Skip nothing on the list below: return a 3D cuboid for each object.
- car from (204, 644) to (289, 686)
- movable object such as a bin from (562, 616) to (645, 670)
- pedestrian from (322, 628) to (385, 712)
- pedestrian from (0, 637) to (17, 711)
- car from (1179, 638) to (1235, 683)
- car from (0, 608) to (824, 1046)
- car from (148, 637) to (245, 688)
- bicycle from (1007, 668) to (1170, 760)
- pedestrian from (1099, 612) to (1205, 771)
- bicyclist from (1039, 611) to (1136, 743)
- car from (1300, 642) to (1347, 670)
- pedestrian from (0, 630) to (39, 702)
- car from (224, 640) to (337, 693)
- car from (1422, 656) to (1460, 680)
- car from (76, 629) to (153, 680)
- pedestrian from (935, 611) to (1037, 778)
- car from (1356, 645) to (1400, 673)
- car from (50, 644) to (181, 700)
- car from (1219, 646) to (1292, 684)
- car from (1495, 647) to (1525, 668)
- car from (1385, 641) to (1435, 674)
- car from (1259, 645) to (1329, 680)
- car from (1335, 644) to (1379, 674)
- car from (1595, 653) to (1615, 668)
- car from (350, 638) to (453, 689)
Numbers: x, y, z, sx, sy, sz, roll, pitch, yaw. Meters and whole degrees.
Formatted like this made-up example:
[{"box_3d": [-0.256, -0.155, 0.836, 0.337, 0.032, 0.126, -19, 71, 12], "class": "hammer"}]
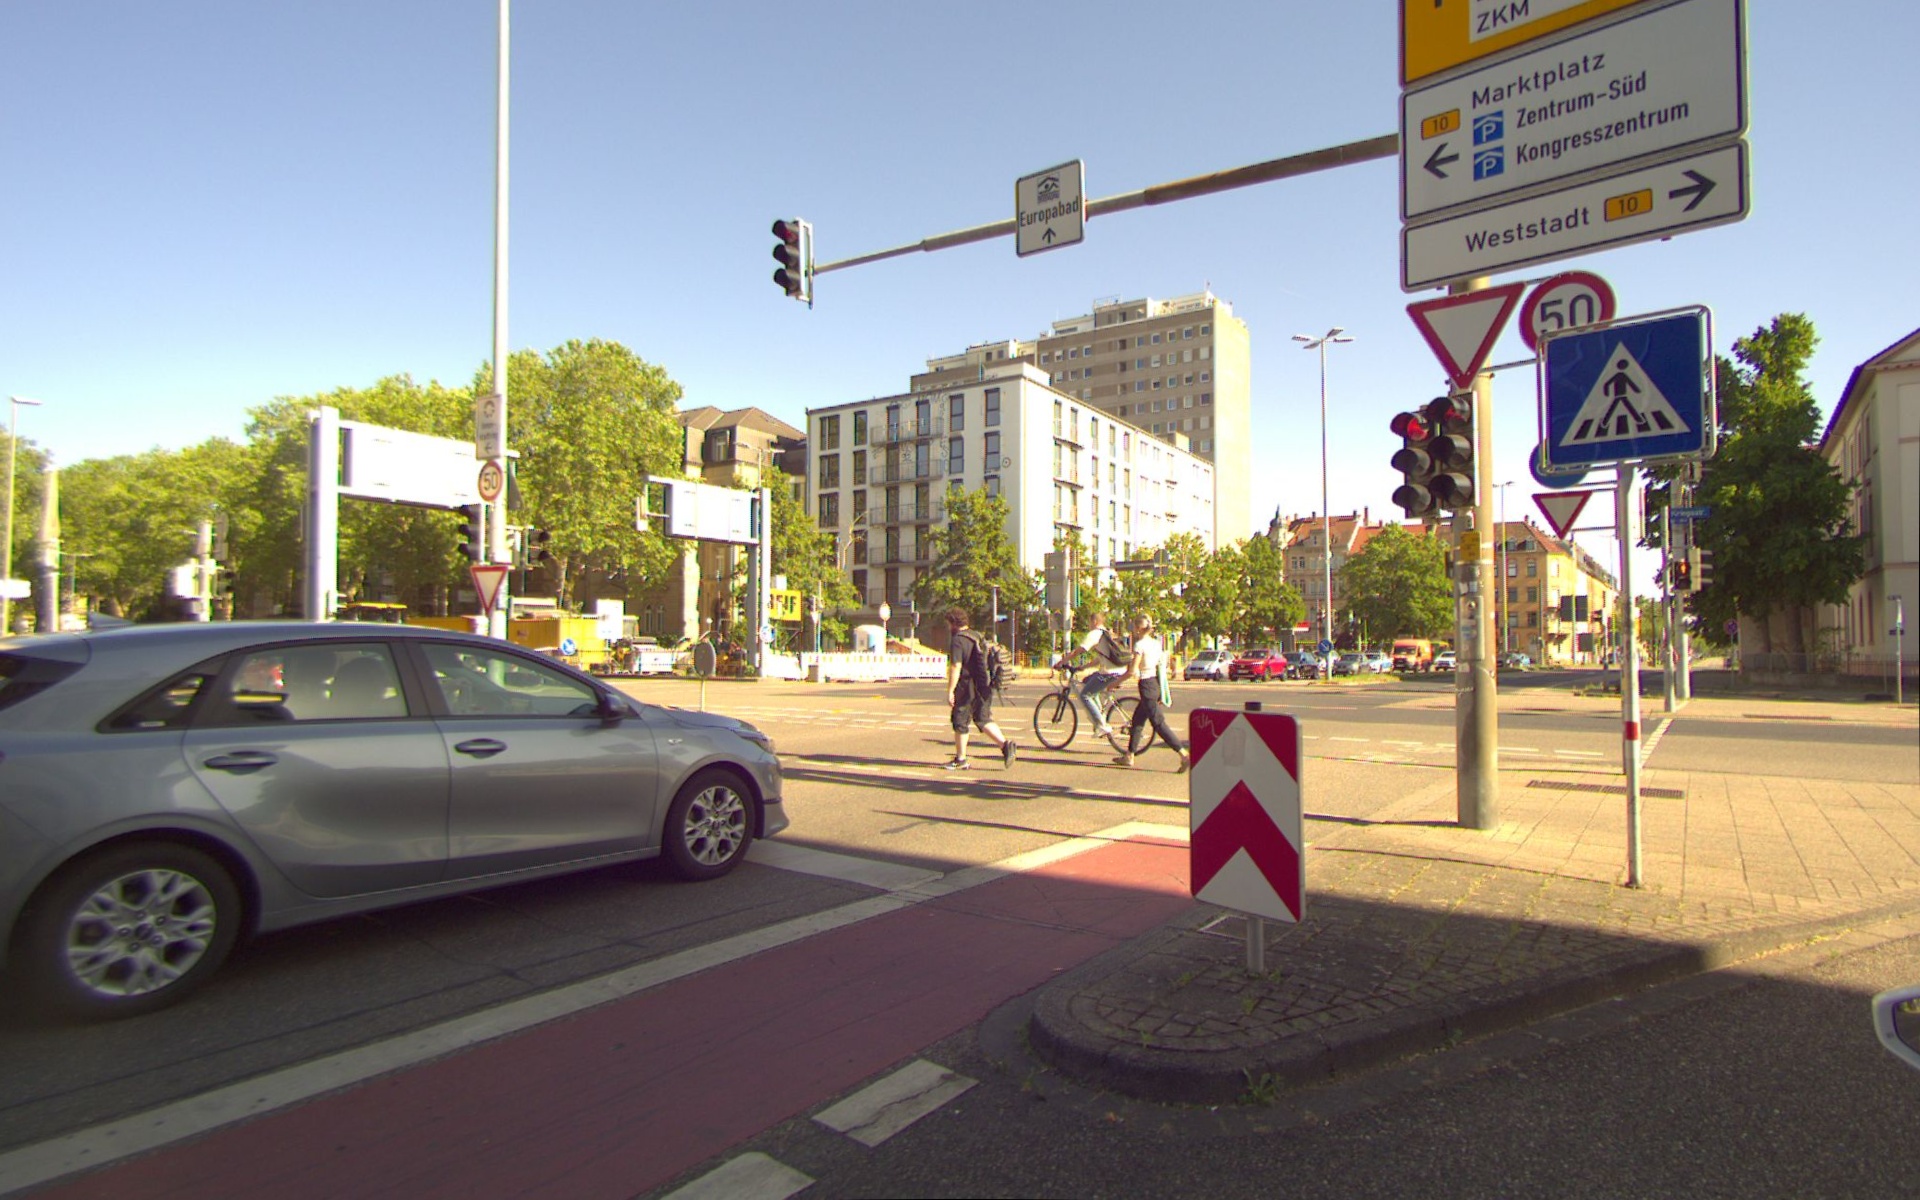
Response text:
[{"box_3d": [-32.035, 2.874, 45.074, 3.933, 1.539, 1.879, 2, 0, 34], "class": "car"}, {"box_3d": [-18.162, 2.141, 51.113, 3.933, 2.508, 1.994, 2, 0, 35], "class": "movable object such as a bin"}, {"box_3d": [-12.400, 1.412, 20.544, 0.710, 1.644, 0.893, 2, 0, 42], "class": "pedestrian"}, {"box_3d": [-22.439, 1.705, 23.137, 0.683, 1.701, 0.720, 2, 0, 5], "class": "pedestrian"}, {"box_3d": [12.685, 3.044, 51.403, 1.962, 2.040, 3.996, 2, 0, 26], "class": "car"}, {"box_3d": [-2.806, 0.793, 5.236, 1.855, 1.426, 4.041, -1, -2, 37], "class": "car"}, {"box_3d": [-27.853, 2.229, 36.607, 3.938, 1.539, 1.877, 2, 0, 39], "class": "car"}, {"box_3d": [1.567, 1.375, 12.462, 1.877, 1.003, 0.862, -3, -3, 45], "class": "bicycle"}, {"box_3d": [2.057, 0.963, 10.874, 0.912, 1.629, 0.786, 2, 0, -3], "class": "pedestrian"}, {"box_3d": [1.581, 0.928, 12.448, 0.865, 1.554, 0.842, 2, -2, -45], "class": "bicyclist"}, {"box_3d": [24.550, 3.749, 67.760, 1.888, 1.639, 3.986, 2, 0, 36], "class": "car"}, {"box_3d": [-23.220, 1.614, 24.655, 0.685, 1.701, 0.718, 2, 0, 33], "class": "pedestrian"}, {"box_3d": [-21.677, 2.069, 32.016, 3.938, 1.539, 1.877, -1, -2, 38], "class": "car"}, {"box_3d": [41.769, 5.857, 87.131, 1.889, 1.838, 4.691, 2, 0, 39], "class": "car"}, {"box_3d": [-43.987, 2.818, 52.232, 4.376, 2.545, 1.880, -1, -2, 33], "class": "car"}, {"box_3d": [0.255, 0.971, 10.651, 0.966, 1.665, 0.797, 2, 0, -3], "class": "pedestrian"}, {"box_3d": [27.778, 3.863, 66.700, 1.886, 1.639, 4.699, 2, 0, 33], "class": "car"}, {"box_3d": [-25.654, 2.182, 30.475, 4.474, 1.539, 1.879, -3, -3, 34], "class": "car"}, {"box_3d": [14.225, 3.076, 48.253, 1.890, 1.639, 3.981, 2, 0, 40], "class": "car"}, {"box_3d": [54.457, 5.667, 99.403, 1.968, 1.840, 3.985, 2, 0, 37], "class": "car"}, {"box_3d": [33.630, 4.243, 74.923, 1.890, 2.260, 5.873, 2, 0, 39], "class": "car"}, {"box_3d": [17.799, 3.302, 53.433, 1.890, 1.639, 4.689, 2, 0, 40], "class": "car"}, {"box_3d": [24.162, 3.583, 61.057, 1.537, 1.639, 3.986, 2, 0, 36], "class": "car"}, {"box_3d": [76.154, 7.149, 118.487, 1.823, 1.728, 3.988, -1, -3, 35], "class": "car"}, {"box_3d": [-20.203, 2.229, 36.303, 3.938, 1.539, 1.877, 2, 0, 39], "class": "car"}]
